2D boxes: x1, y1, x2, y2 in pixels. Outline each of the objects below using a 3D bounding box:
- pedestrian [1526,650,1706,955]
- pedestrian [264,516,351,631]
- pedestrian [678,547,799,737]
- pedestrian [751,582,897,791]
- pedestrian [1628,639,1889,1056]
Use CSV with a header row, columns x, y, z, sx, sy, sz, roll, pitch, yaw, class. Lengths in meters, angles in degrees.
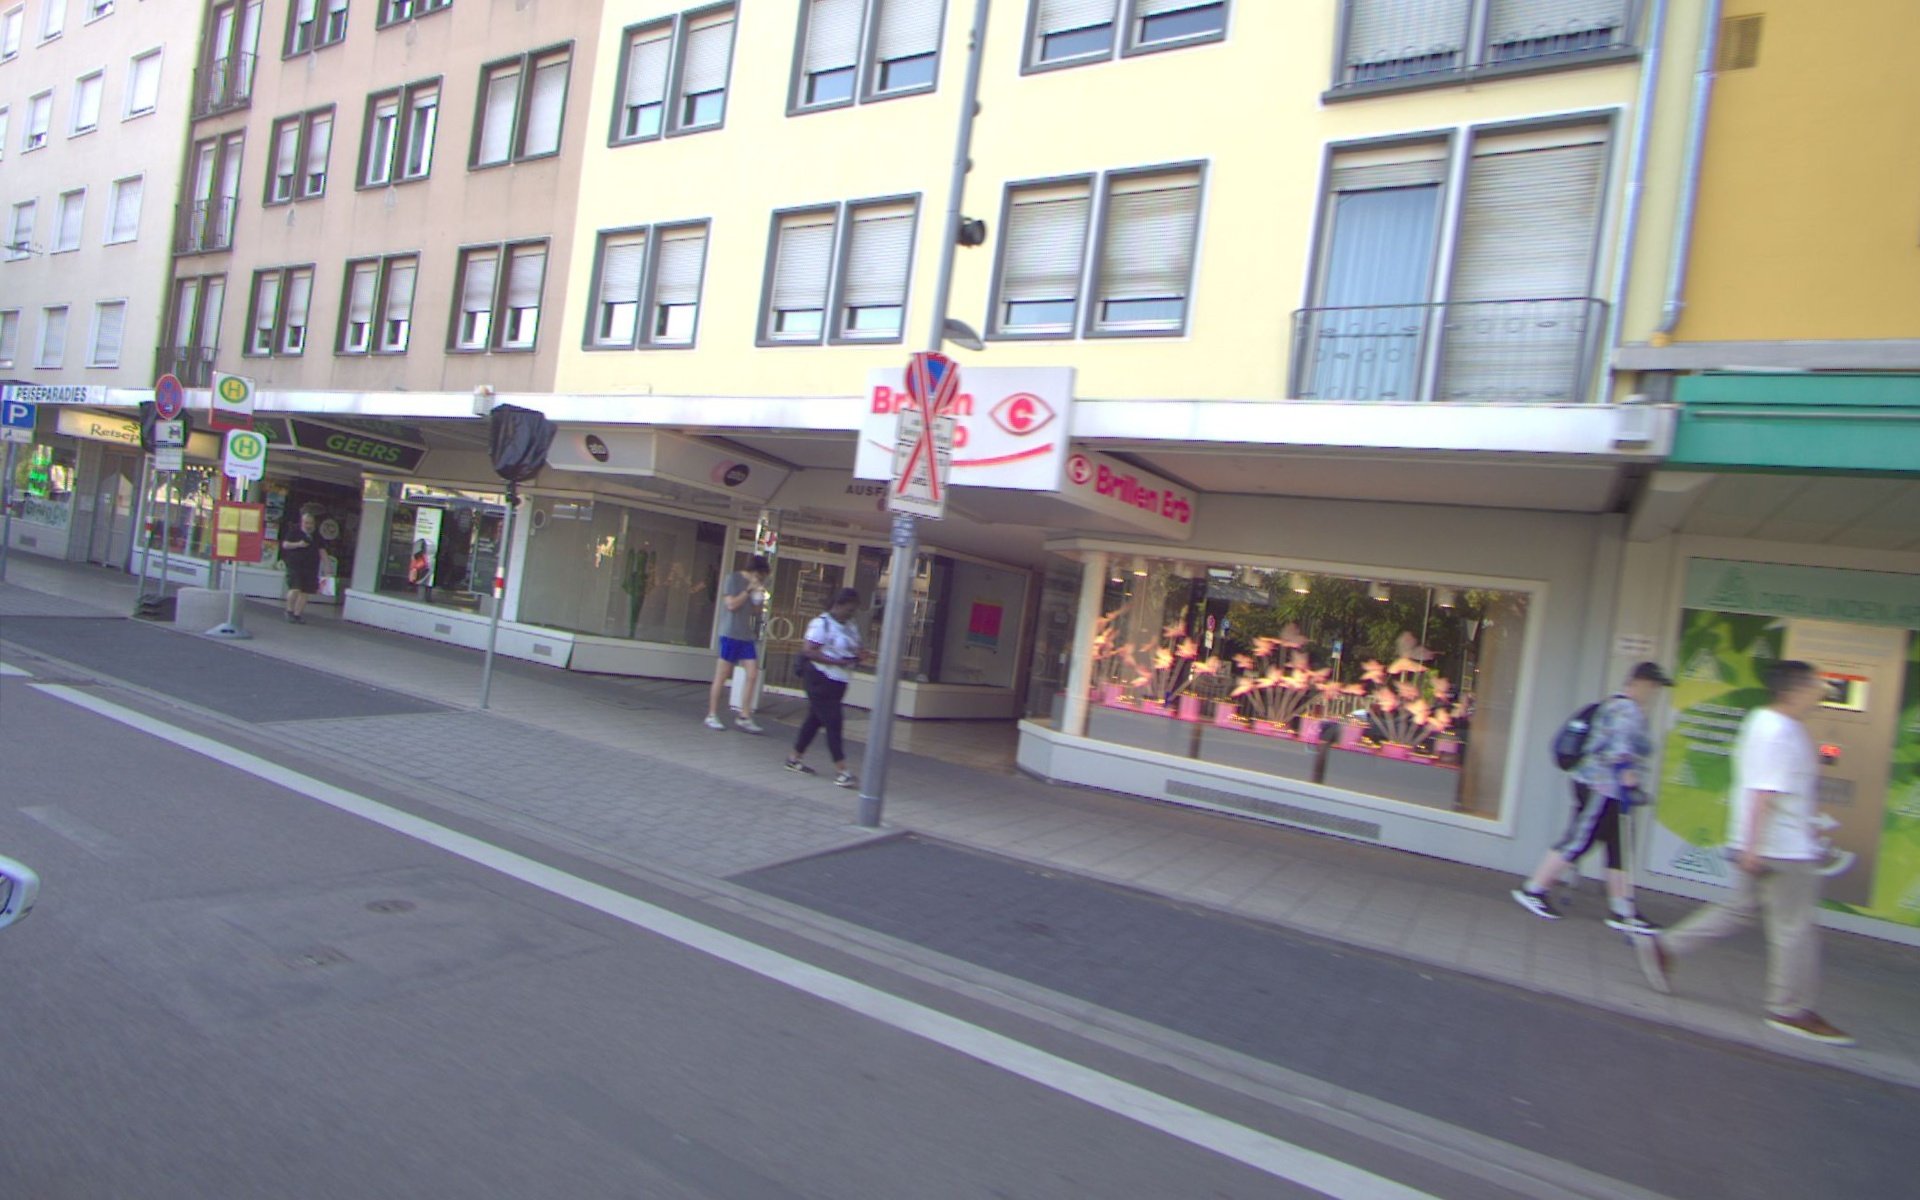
x,y,z,sx,sy,sz,roll,pitch,yaw,class
4.216,1.252,6.528,0.753,1.744,0.724,7,0,31,pedestrian
-10.142,-0.408,15.638,0.753,1.652,0.724,7,0,31,pedestrian
-2.324,0.438,10.591,0.753,1.862,0.724,7,0,31,pedestrian
-1.138,0.706,8.445,0.837,1.597,0.611,7,0,31,pedestrian
3.927,1.151,5.031,0.753,1.800,0.724,7,0,31,pedestrian
